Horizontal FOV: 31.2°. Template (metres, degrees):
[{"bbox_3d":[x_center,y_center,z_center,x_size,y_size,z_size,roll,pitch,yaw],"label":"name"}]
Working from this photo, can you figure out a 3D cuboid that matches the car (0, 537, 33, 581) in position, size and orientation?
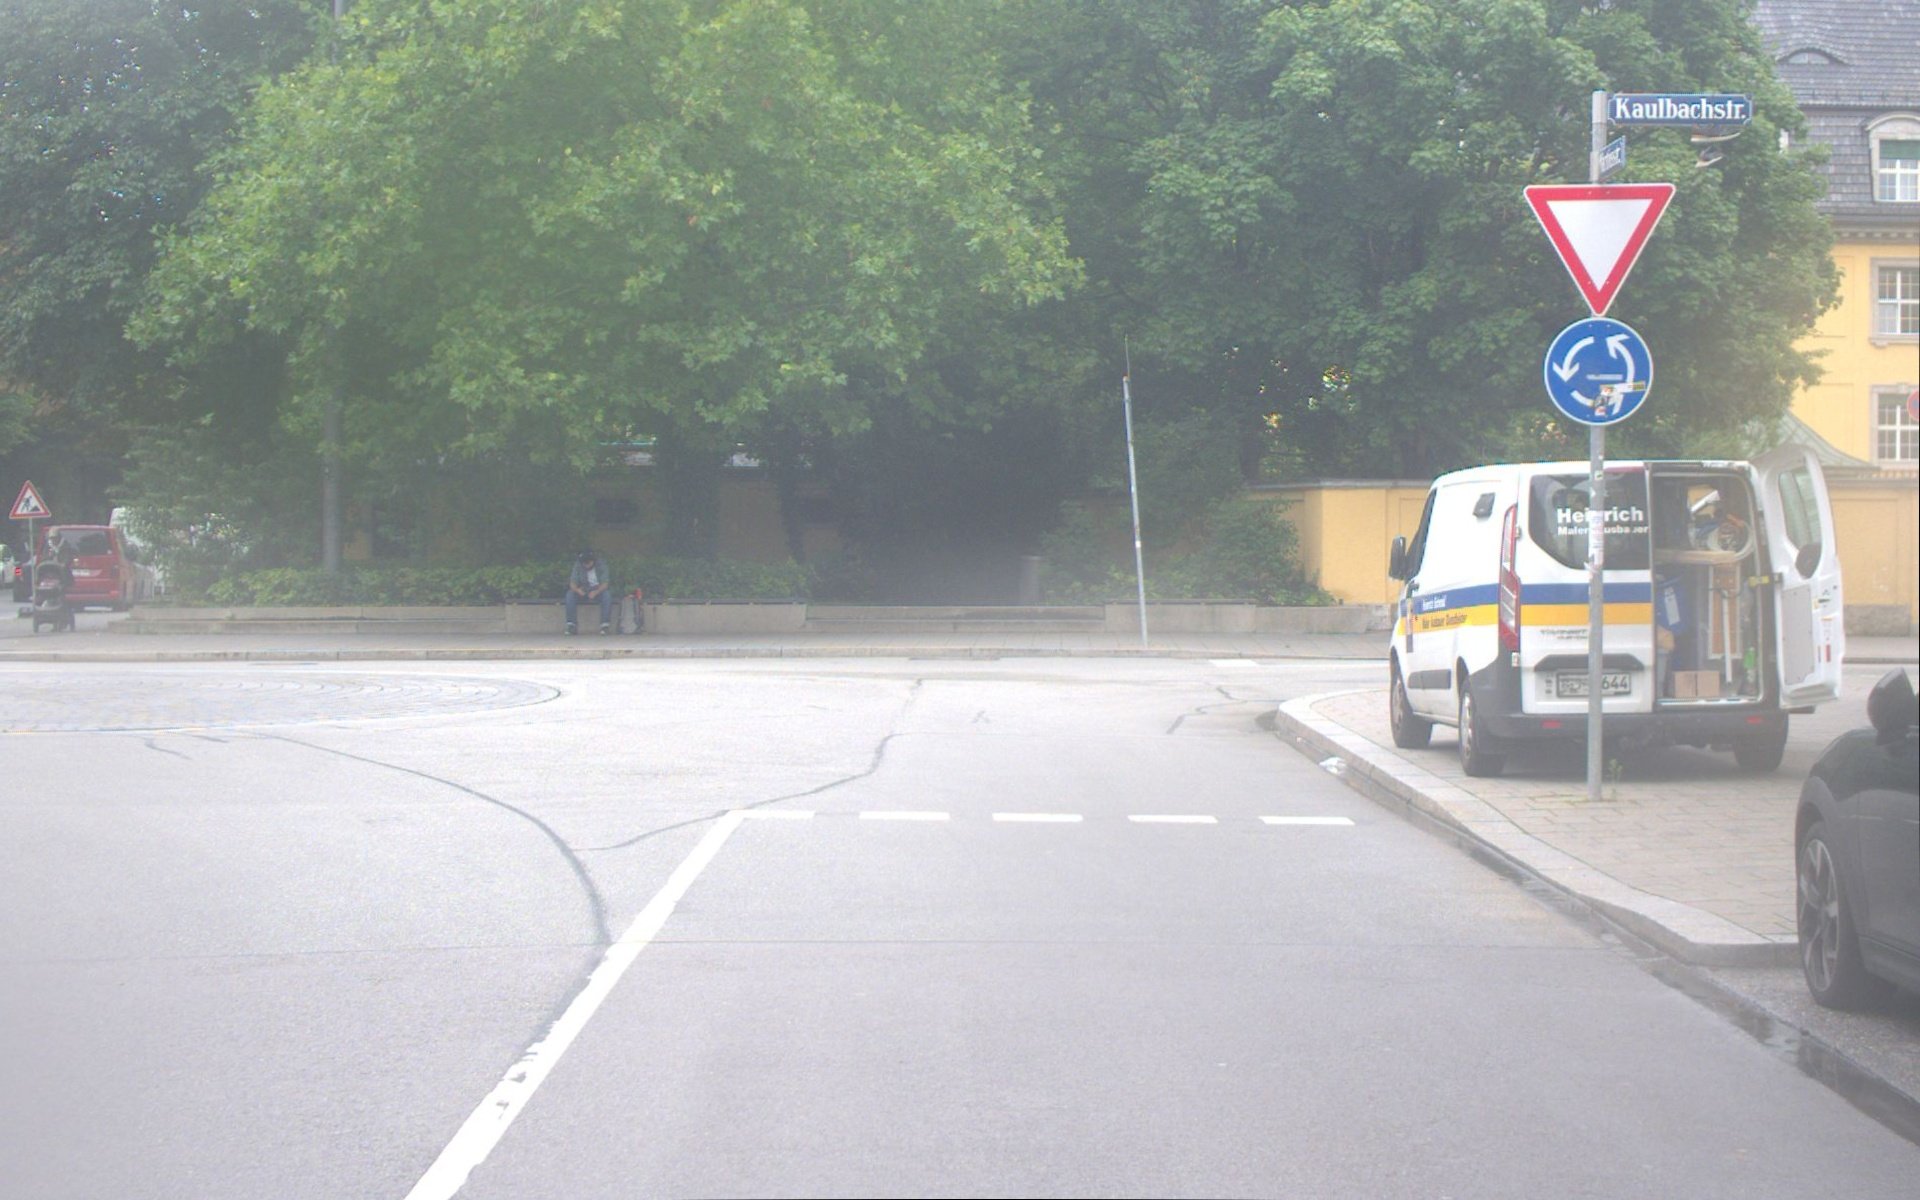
[{"bbox_3d":[-34.574,-1.476,123.390,1.895,1.566,4.075,0,1,-6],"label":"car"}]

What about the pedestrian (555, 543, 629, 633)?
[{"bbox_3d":[-4.898,-0.164,45.772,0.812,1.185,0.919,0,1,6],"label":"pedestrian"}]

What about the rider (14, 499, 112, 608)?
[{"bbox_3d":[-14.129,-0.736,54.178,1.082,1.662,1.139,-2,1,7],"label":"rider"}]

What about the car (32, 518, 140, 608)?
[{"bbox_3d":[-19.093,-0.829,75.249,2.041,1.916,4.447,0,1,-11],"label":"car"}]

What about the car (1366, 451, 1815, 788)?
[{"bbox_3d":[4.006,0.058,22.699,1.915,1.955,4.928,-1,1,-1],"label":"car"}]

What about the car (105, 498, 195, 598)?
[{"bbox_3d":[-21.378,-1.386,90.858,2.041,2.549,5.250,0,1,-10],"label":"car"}]

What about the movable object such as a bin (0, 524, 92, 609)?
[{"bbox_3d":[-14.223,-0.521,53.381,1.078,1.263,1.086,-2,1,7],"label":"movable object such as a bin"}]

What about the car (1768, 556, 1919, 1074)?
[{"bbox_3d":[3.561,0.624,9.686,1.664,1.452,3.896,0,1,0],"label":"car"}]

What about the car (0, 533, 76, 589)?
[{"bbox_3d":[-25.065,-1.071,93.392,1.787,1.487,4.001,0,1,-11],"label":"car"}]
